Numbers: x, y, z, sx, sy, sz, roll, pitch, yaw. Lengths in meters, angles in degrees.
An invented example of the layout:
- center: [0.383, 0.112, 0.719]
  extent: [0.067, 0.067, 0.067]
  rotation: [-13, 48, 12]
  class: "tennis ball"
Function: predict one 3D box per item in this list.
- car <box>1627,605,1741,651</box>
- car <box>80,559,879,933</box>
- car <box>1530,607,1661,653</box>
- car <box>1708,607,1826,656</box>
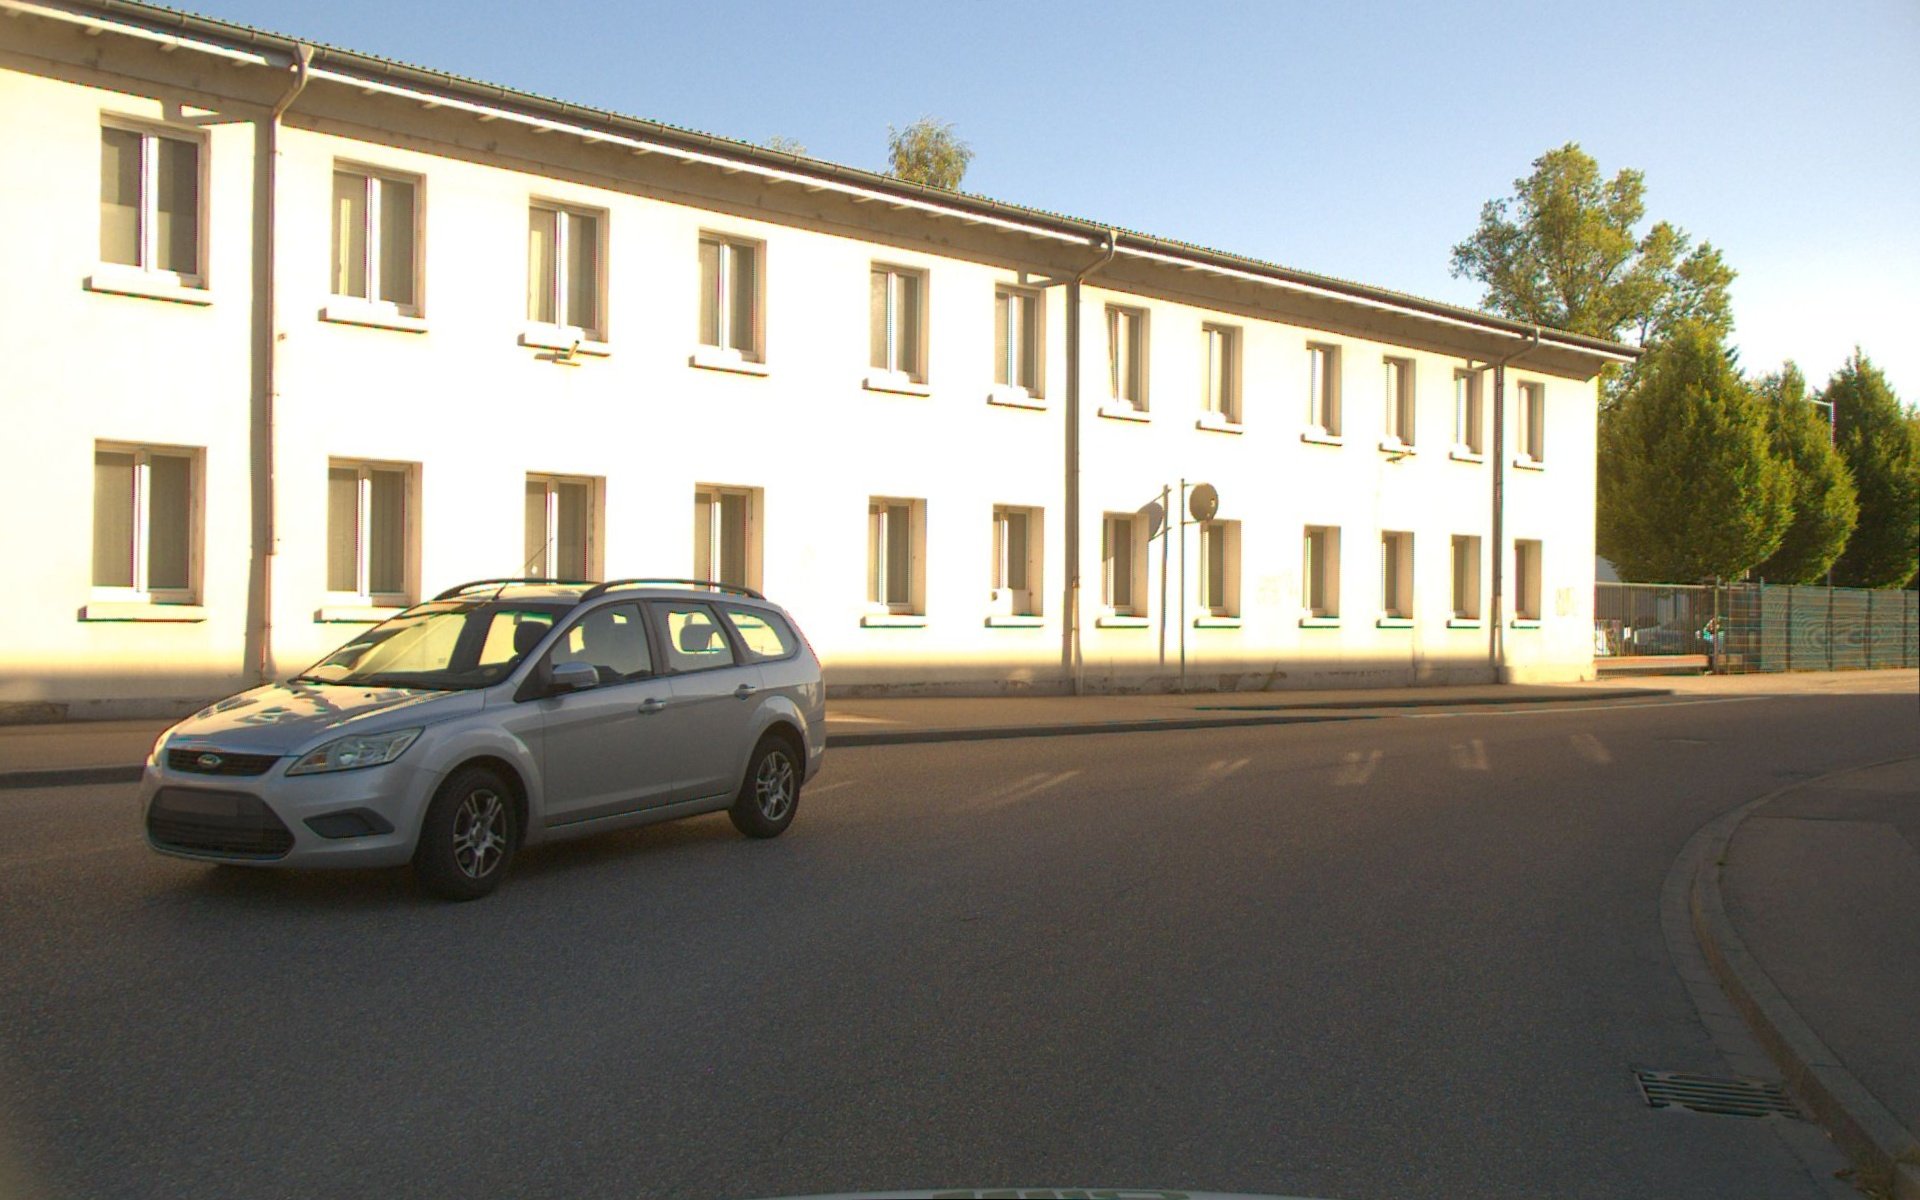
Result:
- center: [24.121, 0.918, 55.059]
  extent: [3.962, 1.477, 1.971]
  rotation: [1, 0, -40]
  class: "car"
- center: [-2.354, 0.625, 9.419]
  extent: [1.706, 1.531, 4.496]
  rotation: [3, 1, 27]
  class: "car"
- center: [22.307, 1.041, 58.152]
  extent: [1.857, 1.567, 3.943]
  rotation: [1, -1, -39]
  class: "car"
- center: [25.911, 0.989, 53.072]
  extent: [3.962, 1.477, 1.971]
  rotation: [1, 0, -40]
  class: "car"
